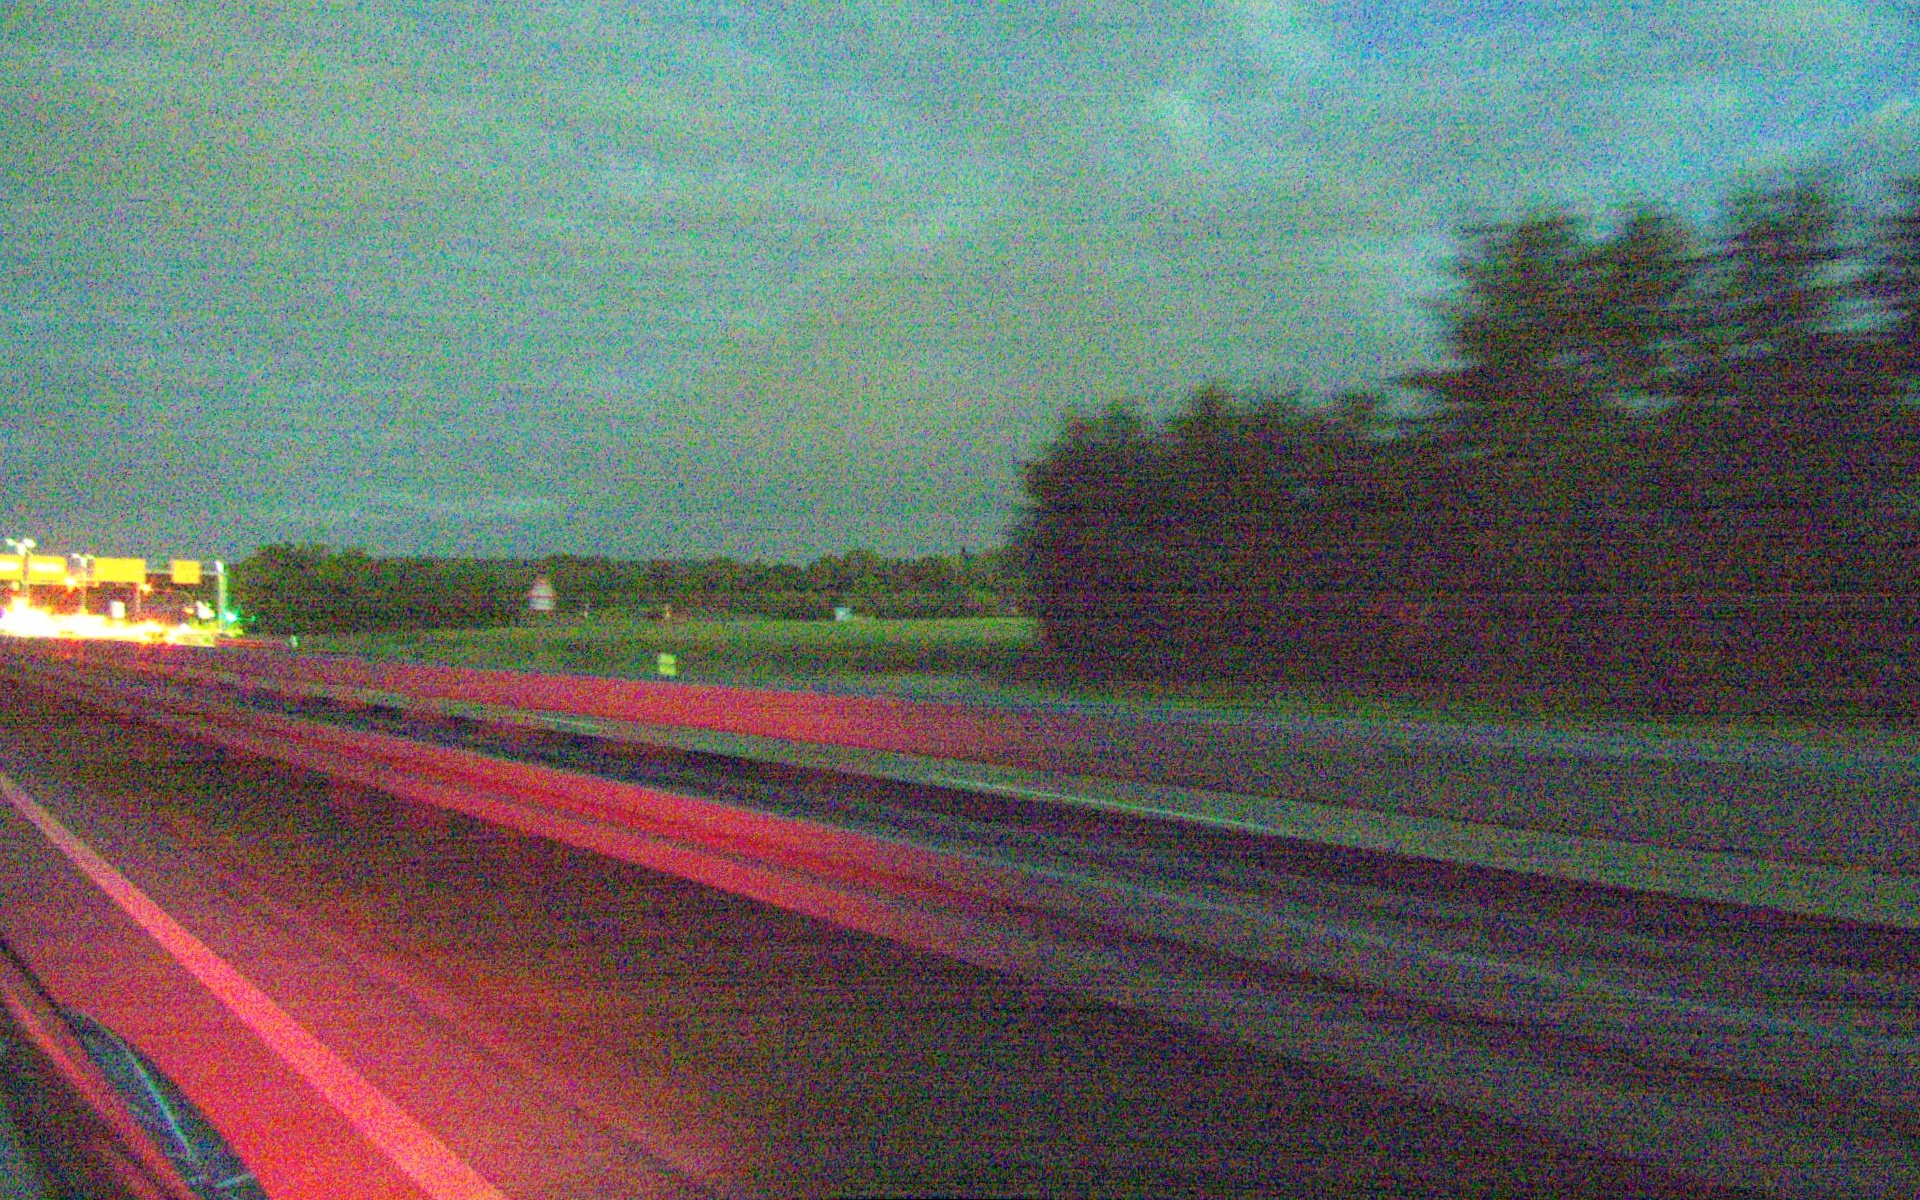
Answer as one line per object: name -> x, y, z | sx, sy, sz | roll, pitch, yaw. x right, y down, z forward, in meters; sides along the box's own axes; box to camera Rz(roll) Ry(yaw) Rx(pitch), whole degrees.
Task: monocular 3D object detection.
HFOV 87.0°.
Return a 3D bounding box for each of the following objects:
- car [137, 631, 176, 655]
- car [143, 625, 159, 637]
car -> -53.397, 2.822, 67.227 | 1.700, 1.458, 4.385 | -1, 0, -43
car -> -108.684, 4.191, 135.879 | 1.632, 1.487, 4.007 | -1, 0, -39
